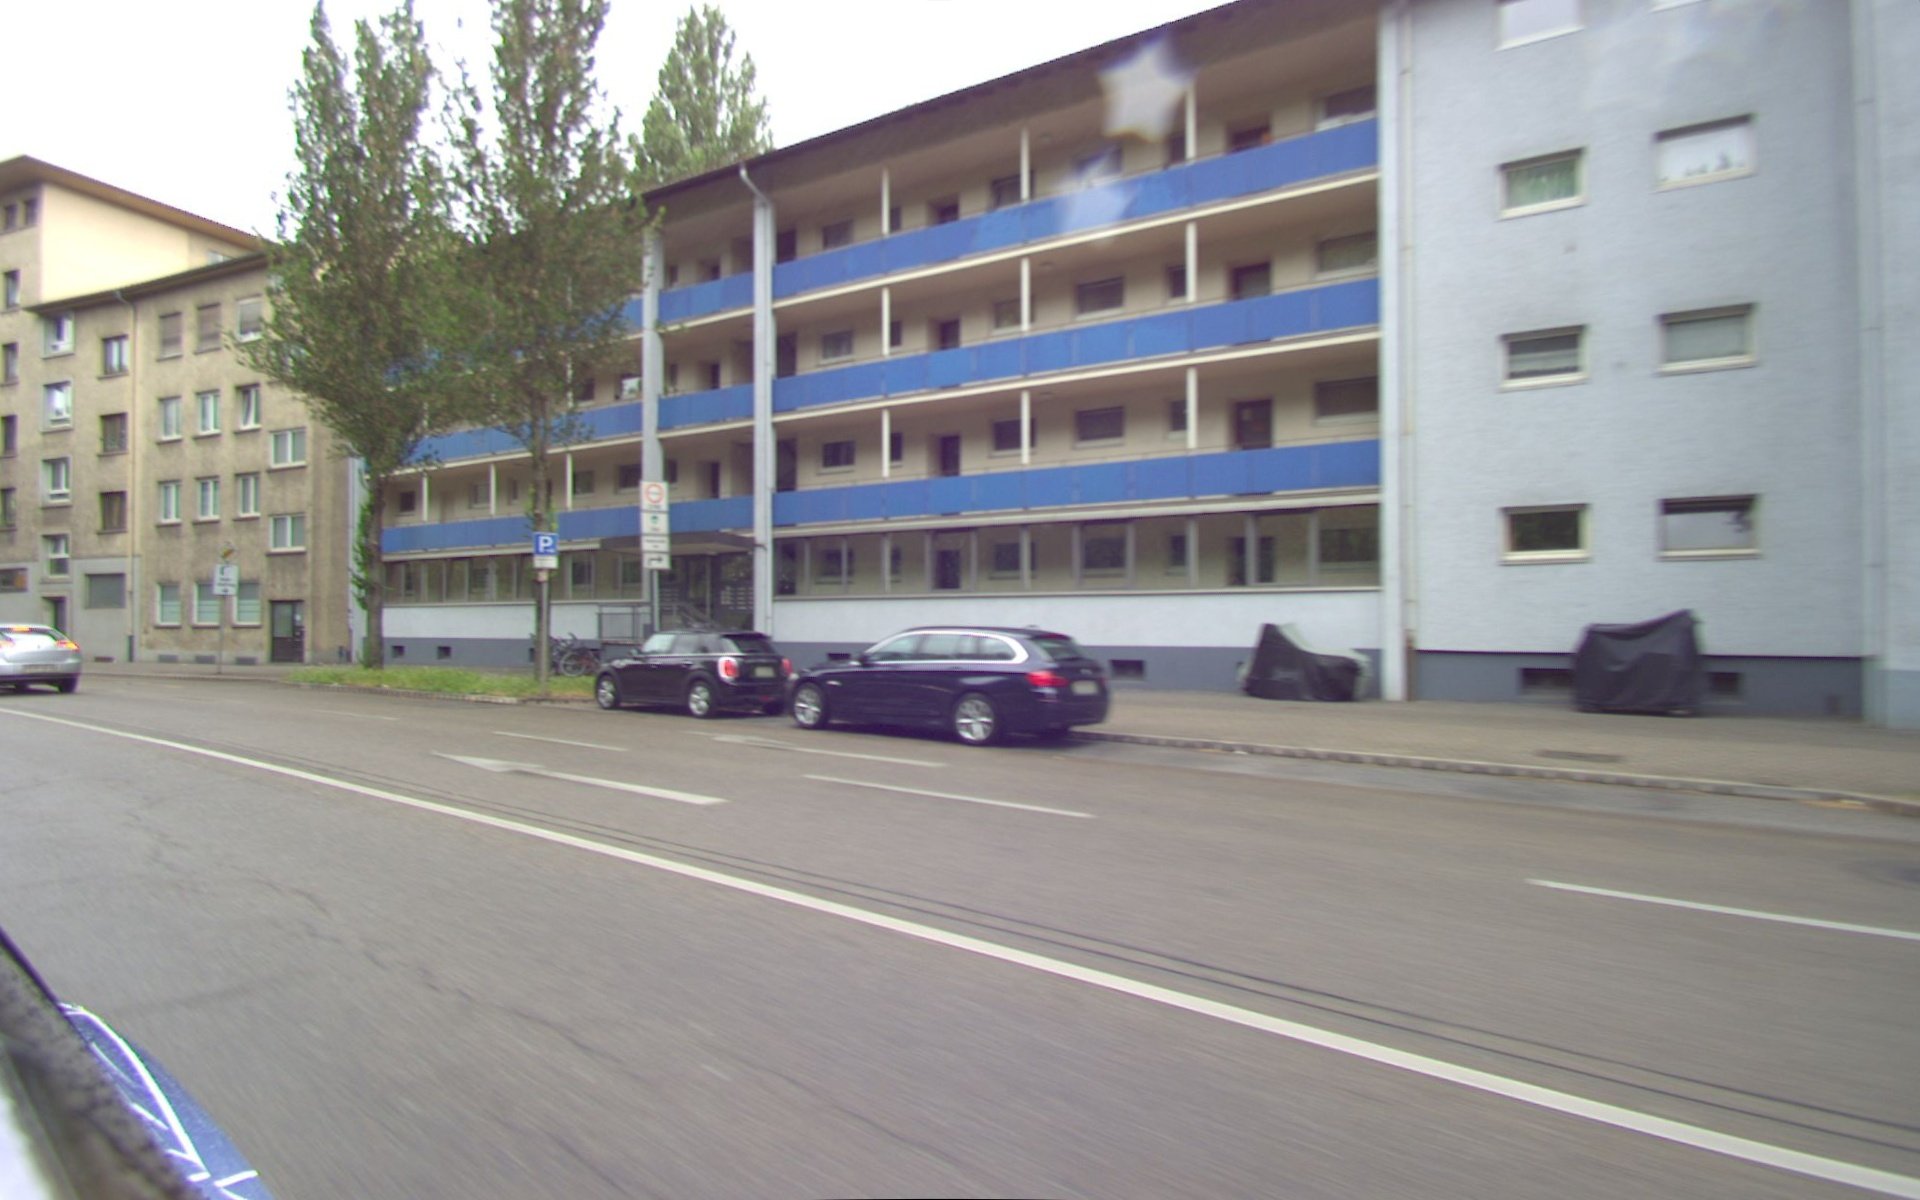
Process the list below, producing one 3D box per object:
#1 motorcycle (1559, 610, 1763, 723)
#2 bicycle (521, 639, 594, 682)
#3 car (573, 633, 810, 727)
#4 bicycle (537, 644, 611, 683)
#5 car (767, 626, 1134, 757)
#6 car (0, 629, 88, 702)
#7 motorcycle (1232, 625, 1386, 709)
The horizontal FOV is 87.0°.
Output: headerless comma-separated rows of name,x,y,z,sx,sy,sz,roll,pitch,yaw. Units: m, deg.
motorcycle,9.489,0.874,13.821,2.229,1.424,0.670,-1,1,32
bicycle,-9.870,1.474,24.836,1.722,1.031,0.609,-1,-2,22
car,-4.606,1.283,17.118,4.083,1.414,1.762,-2,-4,38
bicycle,-9.024,1.460,23.615,1.734,0.832,0.662,-1,1,31
car,-0.270,1.105,13.550,4.887,1.450,1.803,-1,-4,39
car,-20.479,1.338,21.405,4.520,1.436,1.740,-1,-2,31
motorcycle,5.605,1.047,16.317,2.230,1.263,0.669,-1,0,34
